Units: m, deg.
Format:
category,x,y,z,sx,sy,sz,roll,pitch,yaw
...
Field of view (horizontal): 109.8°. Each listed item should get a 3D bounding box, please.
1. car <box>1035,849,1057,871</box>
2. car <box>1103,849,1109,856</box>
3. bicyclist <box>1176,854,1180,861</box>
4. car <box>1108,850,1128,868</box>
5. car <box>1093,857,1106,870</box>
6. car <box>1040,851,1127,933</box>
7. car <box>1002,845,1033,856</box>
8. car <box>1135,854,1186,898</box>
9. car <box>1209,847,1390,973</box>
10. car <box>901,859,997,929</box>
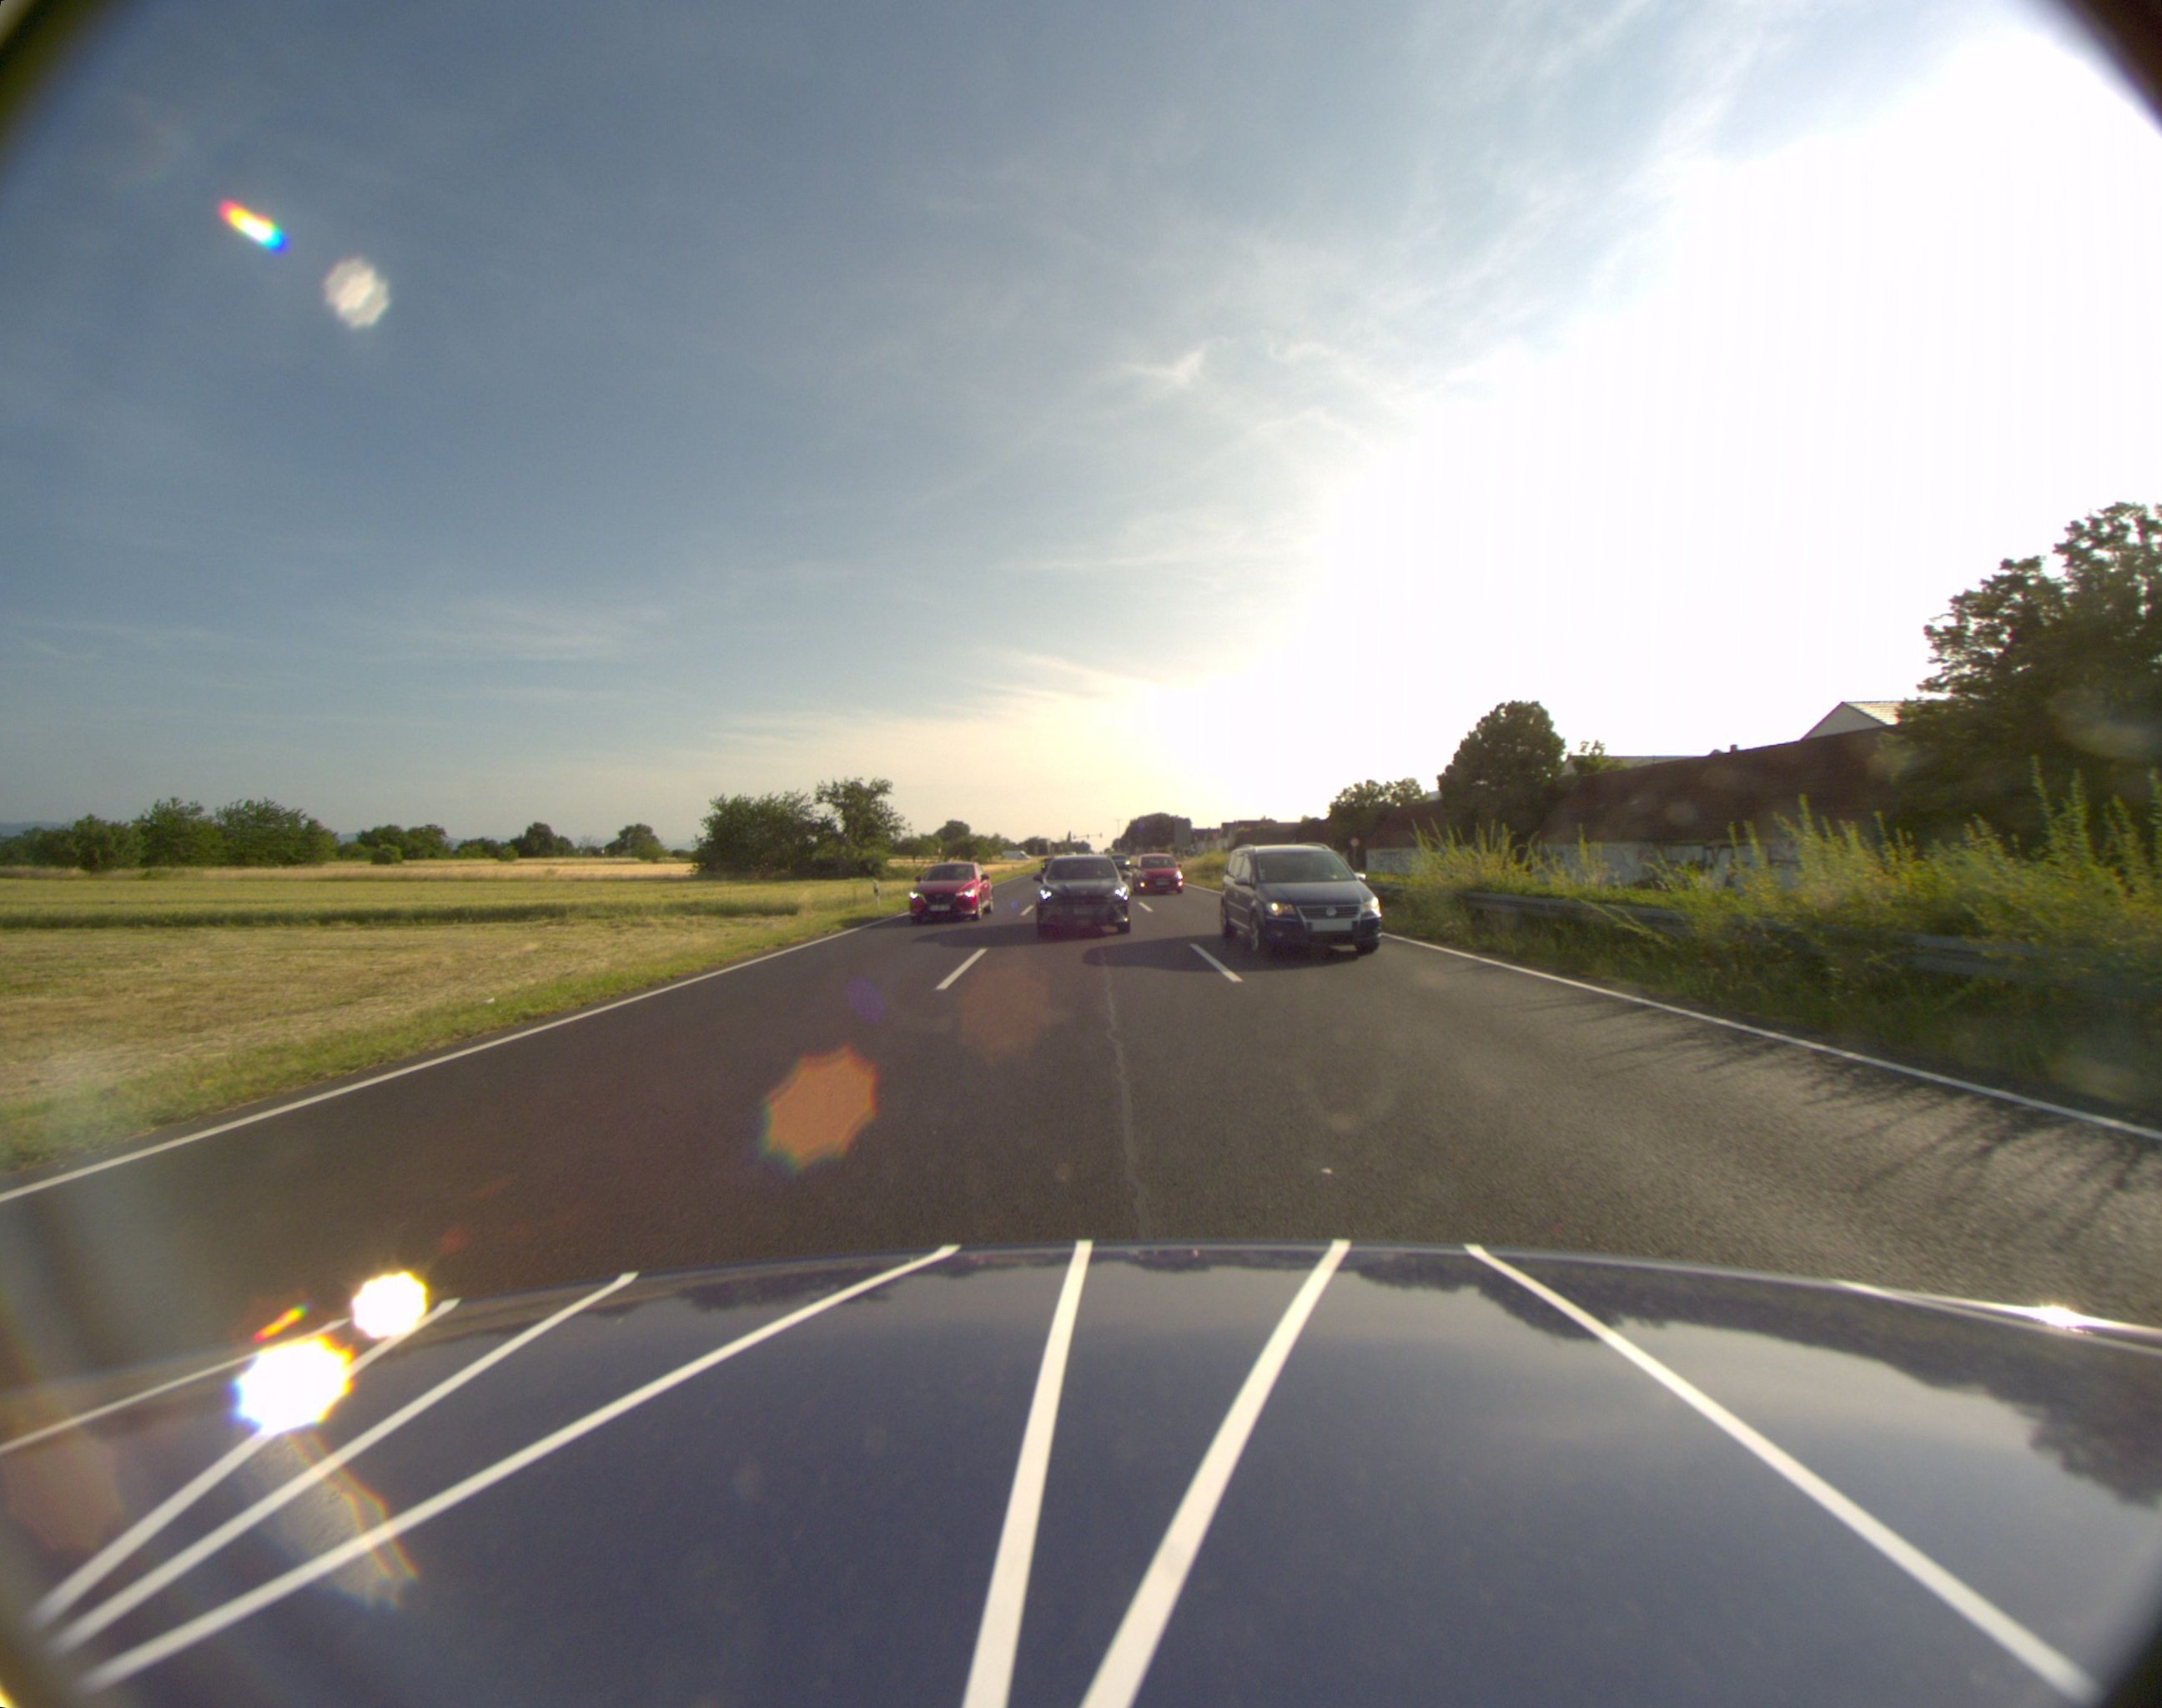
category,x,y,z,sx,sy,sz,roll,pitch,yaw
car,-3.372,0.553,73.720,1.999,2.002,3.998,-2,1,-2
car,8.075,-0.584,246.175,1.998,2.002,3.999,-2,1,2
bicyclist,25.008,0.905,195.521,0.856,1.777,0.847,2,2,9
car,3.541,0.437,72.987,1.718,1.521,3.999,-2,1,2
car,3.192,1.591,130.730,1.999,2.002,3.998,-2,1,-2
car,0.107,0.806,18.310,1.791,1.594,4.339,-2,1,2
car,-15.228,-0.883,182.143,7.202,2.654,2.094,0,2,15
car,3.186,0.844,31.174,1.748,1.537,3.999,-2,1,2
car,3.361,0.743,12.646,1.777,1.612,4.681,-2,1,2
car,-3.436,0.977,20.584,1.708,1.497,4.500,-2,1,1
